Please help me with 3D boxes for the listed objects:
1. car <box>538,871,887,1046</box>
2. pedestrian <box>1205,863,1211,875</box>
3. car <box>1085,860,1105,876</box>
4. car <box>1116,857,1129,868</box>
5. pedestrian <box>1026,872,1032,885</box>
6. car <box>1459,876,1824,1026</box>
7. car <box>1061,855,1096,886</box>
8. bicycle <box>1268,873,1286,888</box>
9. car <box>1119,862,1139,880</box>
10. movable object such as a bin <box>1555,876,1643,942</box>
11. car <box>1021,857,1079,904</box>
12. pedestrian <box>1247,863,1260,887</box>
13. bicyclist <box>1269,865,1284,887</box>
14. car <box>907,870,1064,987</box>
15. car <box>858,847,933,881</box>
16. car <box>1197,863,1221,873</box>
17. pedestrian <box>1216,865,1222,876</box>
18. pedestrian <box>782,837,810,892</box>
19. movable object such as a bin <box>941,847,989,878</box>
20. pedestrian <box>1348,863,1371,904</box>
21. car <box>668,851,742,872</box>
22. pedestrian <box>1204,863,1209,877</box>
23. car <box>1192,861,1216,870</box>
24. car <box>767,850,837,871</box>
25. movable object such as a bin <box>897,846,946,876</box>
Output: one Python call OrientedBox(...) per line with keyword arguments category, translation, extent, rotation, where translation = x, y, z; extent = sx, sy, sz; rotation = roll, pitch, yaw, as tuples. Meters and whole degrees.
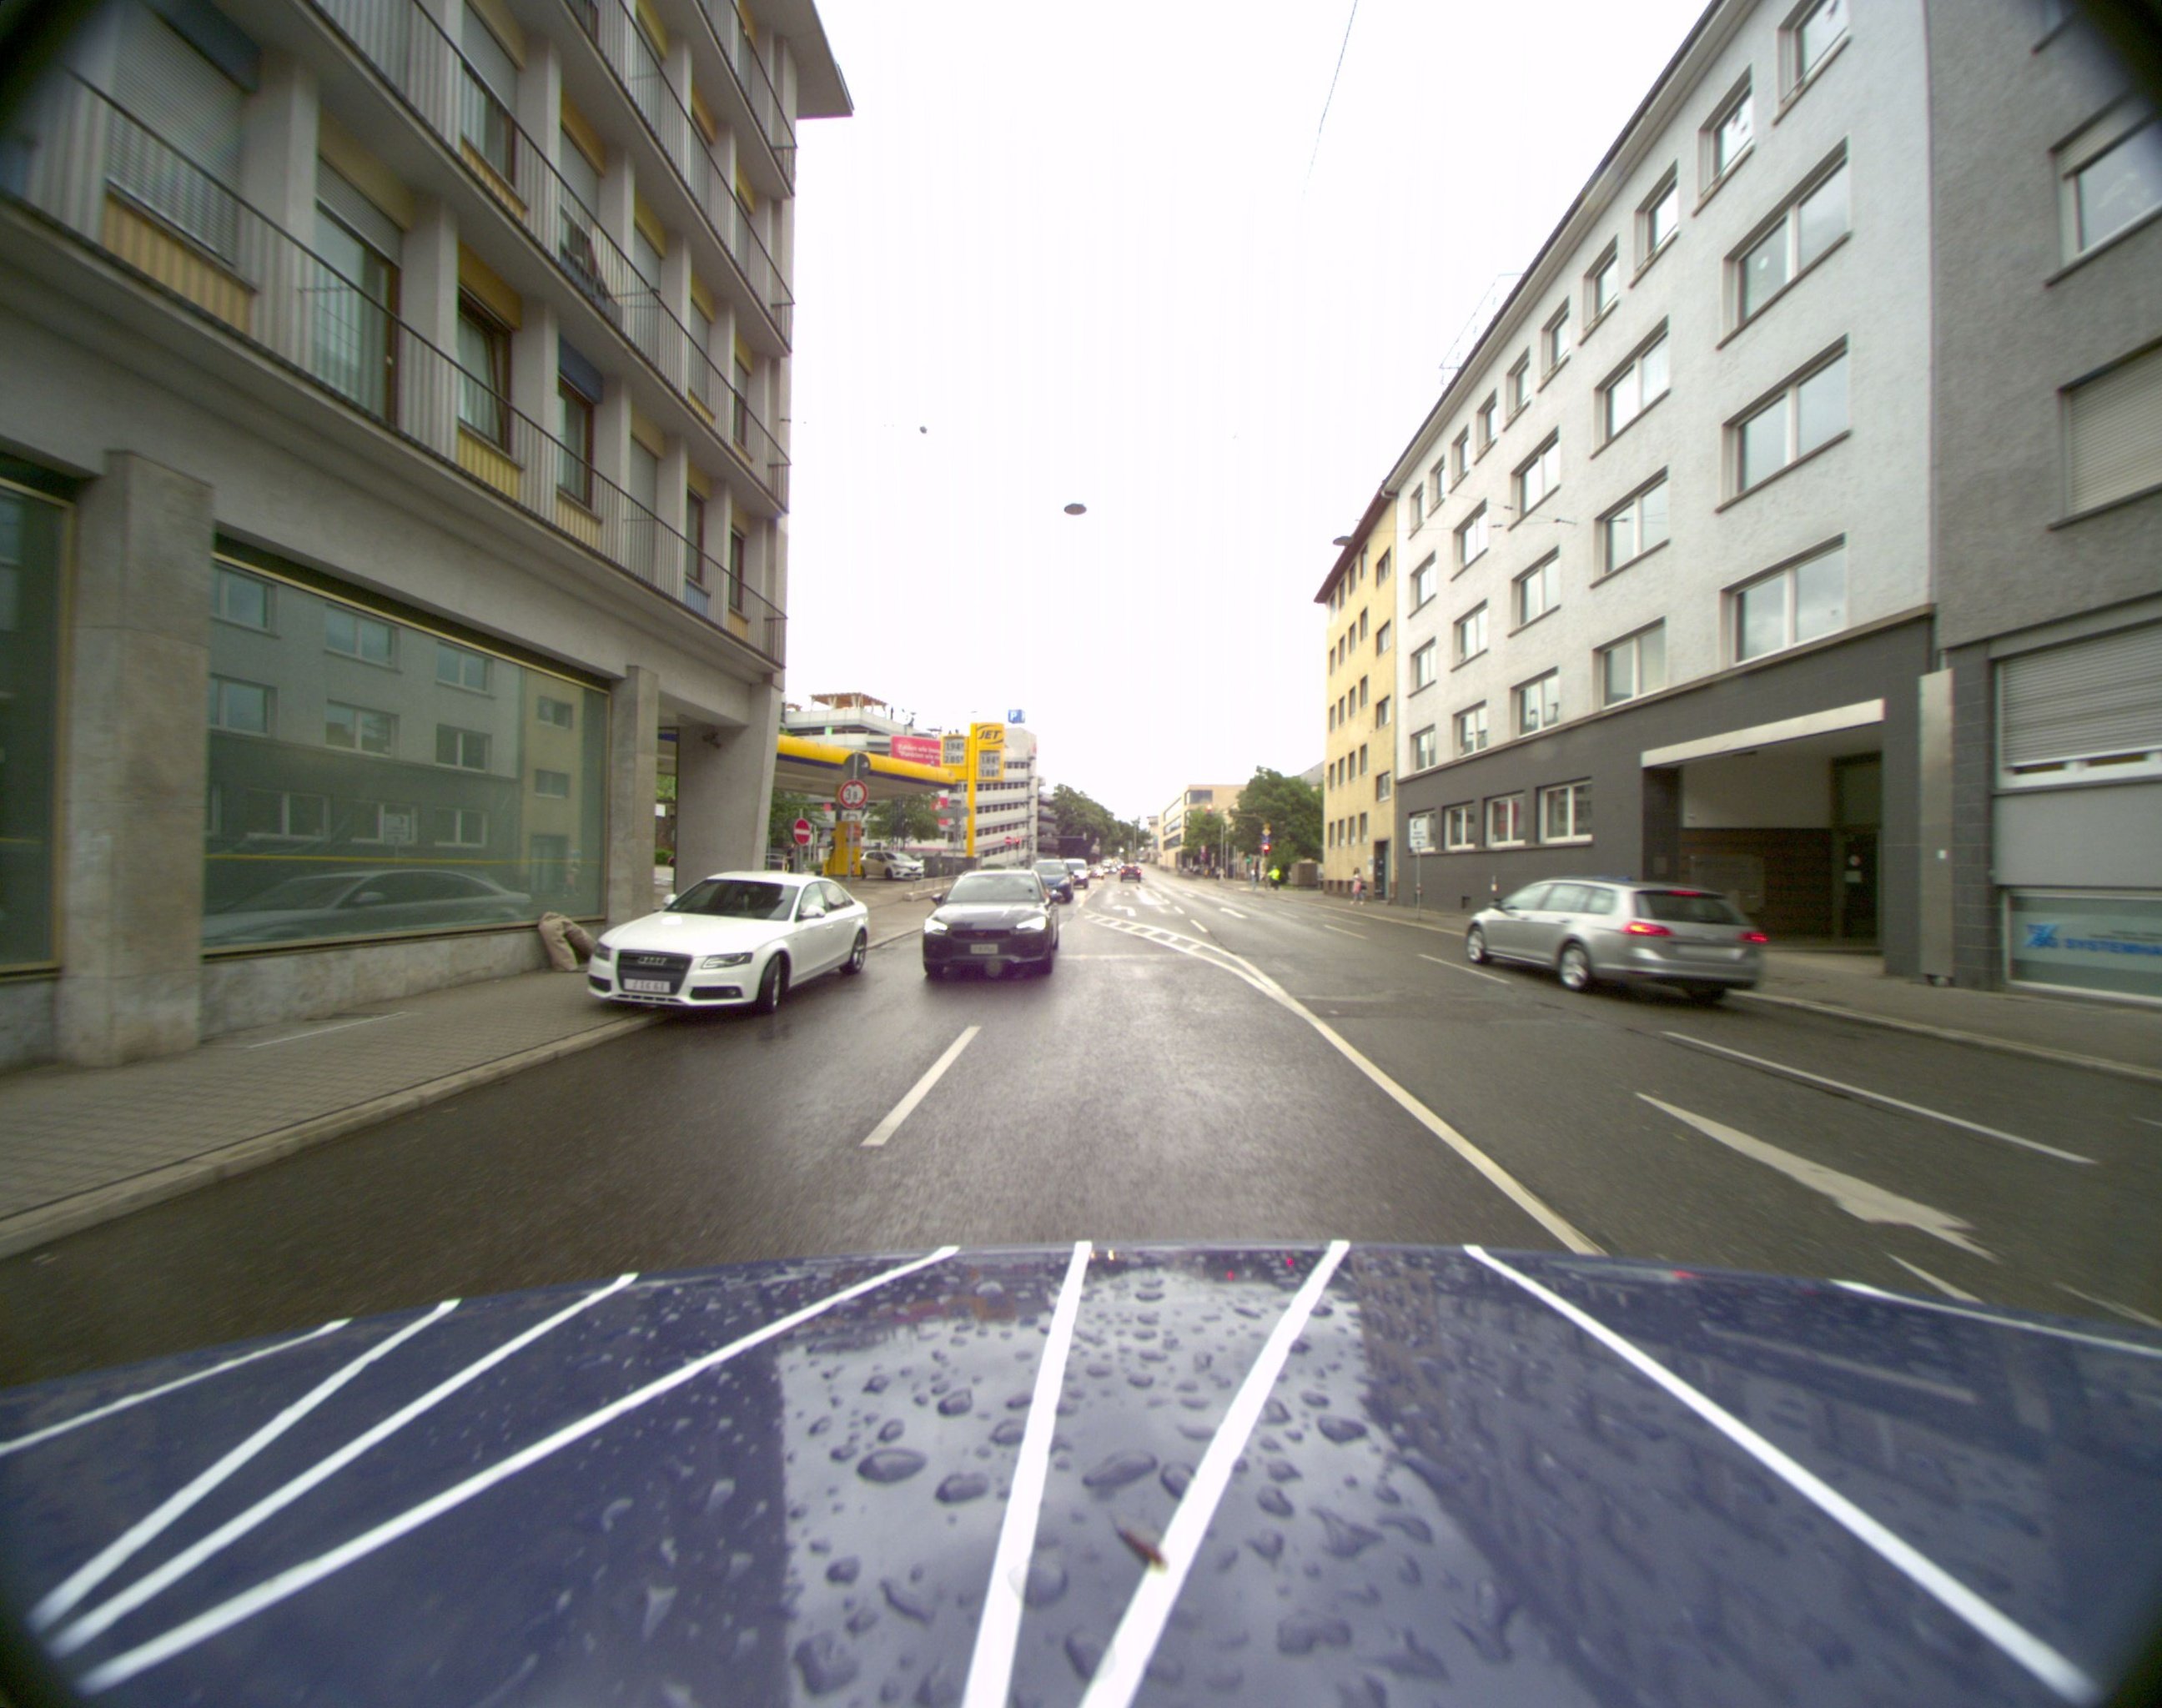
OrientedBox(category="car", translation=(-4.028, 1.024, 9.389), extent=(1.898, 1.394, 4.609), rotation=(5, 0, 1))
OrientedBox(category="pedestrian", translation=(16.267, 1.936, 97.360), extent=(0.595, 1.507, 0.692), rotation=(-1, 0, 2))
OrientedBox(category="car", translation=(1.501, 1.459, 80.365), extent=(1.804, 1.561, 3.951), rotation=(-1, -1, 4))
OrientedBox(category="car", translation=(7.004, 1.425, 128.843), extent=(1.998, 1.772, 4.000), rotation=(-1, 0, 1))
OrientedBox(category="pedestrian", translation=(-6.845, 3.246, 100.117), extent=(0.583, 1.650, 0.519), rotation=(3, 2, 20))
OrientedBox(category="car", translation=(7.101, 1.104, 10.332), extent=(1.831, 1.408, 4.296), rotation=(4, 0, 2))
OrientedBox(category="car", translation=(-0.130, 0.996, 46.737), extent=(1.804, 1.817, 3.951), rotation=(-1, -1, 4))
OrientedBox(category="bicycle", translation=(13.098, 1.773, 50.787), extent=(0.887, 0.902, 1.867), rotation=(-1, 0, 5))
OrientedBox(category="car", translation=(4.433, 1.526, 69.742), extent=(1.812, 1.585, 4.297), rotation=(1, 0, 4))
OrientedBox(category="movable object such as a bin", translation=(11.051, 1.158, 16.254), extent=(1.078, 1.316, 1.191), rotation=(-1, 0, 3))
OrientedBox(category="car", translation=(-1.113, 0.968, 29.232), extent=(1.845, 1.646, 4.001), rotation=(0, 0, 3))
OrientedBox(category="pedestrian", translation=(11.886, 1.436, 52.297), extent=(0.719, 1.679, 0.811), rotation=(-1, 0, 5))
OrientedBox(category="bicyclist", translation=(13.089, 1.474, 50.853), extent=(0.844, 1.433, 0.813), rotation=(-1, 0, 5))
OrientedBox(category="car", translation=(-1.256, 0.986, 11.813), extent=(1.738, 1.380, 4.583), rotation=(-1, 0, 1))
OrientedBox(category="car", translation=(-9.099, 0.460, 37.049), extent=(1.750, 1.434, 3.987), rotation=(2, 1, -43))
OrientedBox(category="car", translation=(21.659, 2.386, 128.722), extent=(3.995, 1.575, 2.001), rotation=(-1, 0, 7))
OrientedBox(category="pedestrian", translation=(17.236, 2.111, 94.859), extent=(0.622, 1.368, 0.475), rotation=(-1, 0, 4))
OrientedBox(category="pedestrian", translation=(-9.387, 0.343, 25.018), extent=(0.661, 1.761, 0.528), rotation=(2, 1, -39))
OrientedBox(category="movable object such as a bin", translation=(-6.199, 0.460, 40.873), extent=(2.160, 1.565, 1.774), rotation=(1, 0, 4))
OrientedBox(category="pedestrian", translation=(11.480, 1.206, 31.336), extent=(0.719, 1.679, 0.811), rotation=(-1, 0, 5))
OrientedBox(category="car", translation=(-30.966, 0.648, 62.726), extent=(5.036, 1.622, 2.000), rotation=(-1, 0, -2))
OrientedBox(category="pedestrian", translation=(15.761, 1.967, 95.511), extent=(0.595, 1.761, 0.692), rotation=(-1, 0, 2))
OrientedBox(category="car", translation=(21.217, 1.981, 131.179), extent=(3.995, 1.575, 2.001), rotation=(-1, 0, 7))
OrientedBox(category="car", translation=(-22.894, 0.522, 62.451), extent=(5.036, 1.622, 2.000), rotation=(-1, 0, -2))
OrientedBox(category="movable object such as a bin", translation=(-8.562, 0.373, 40.936), extent=(2.160, 1.546, 1.774), rotation=(2, 0, 4))
